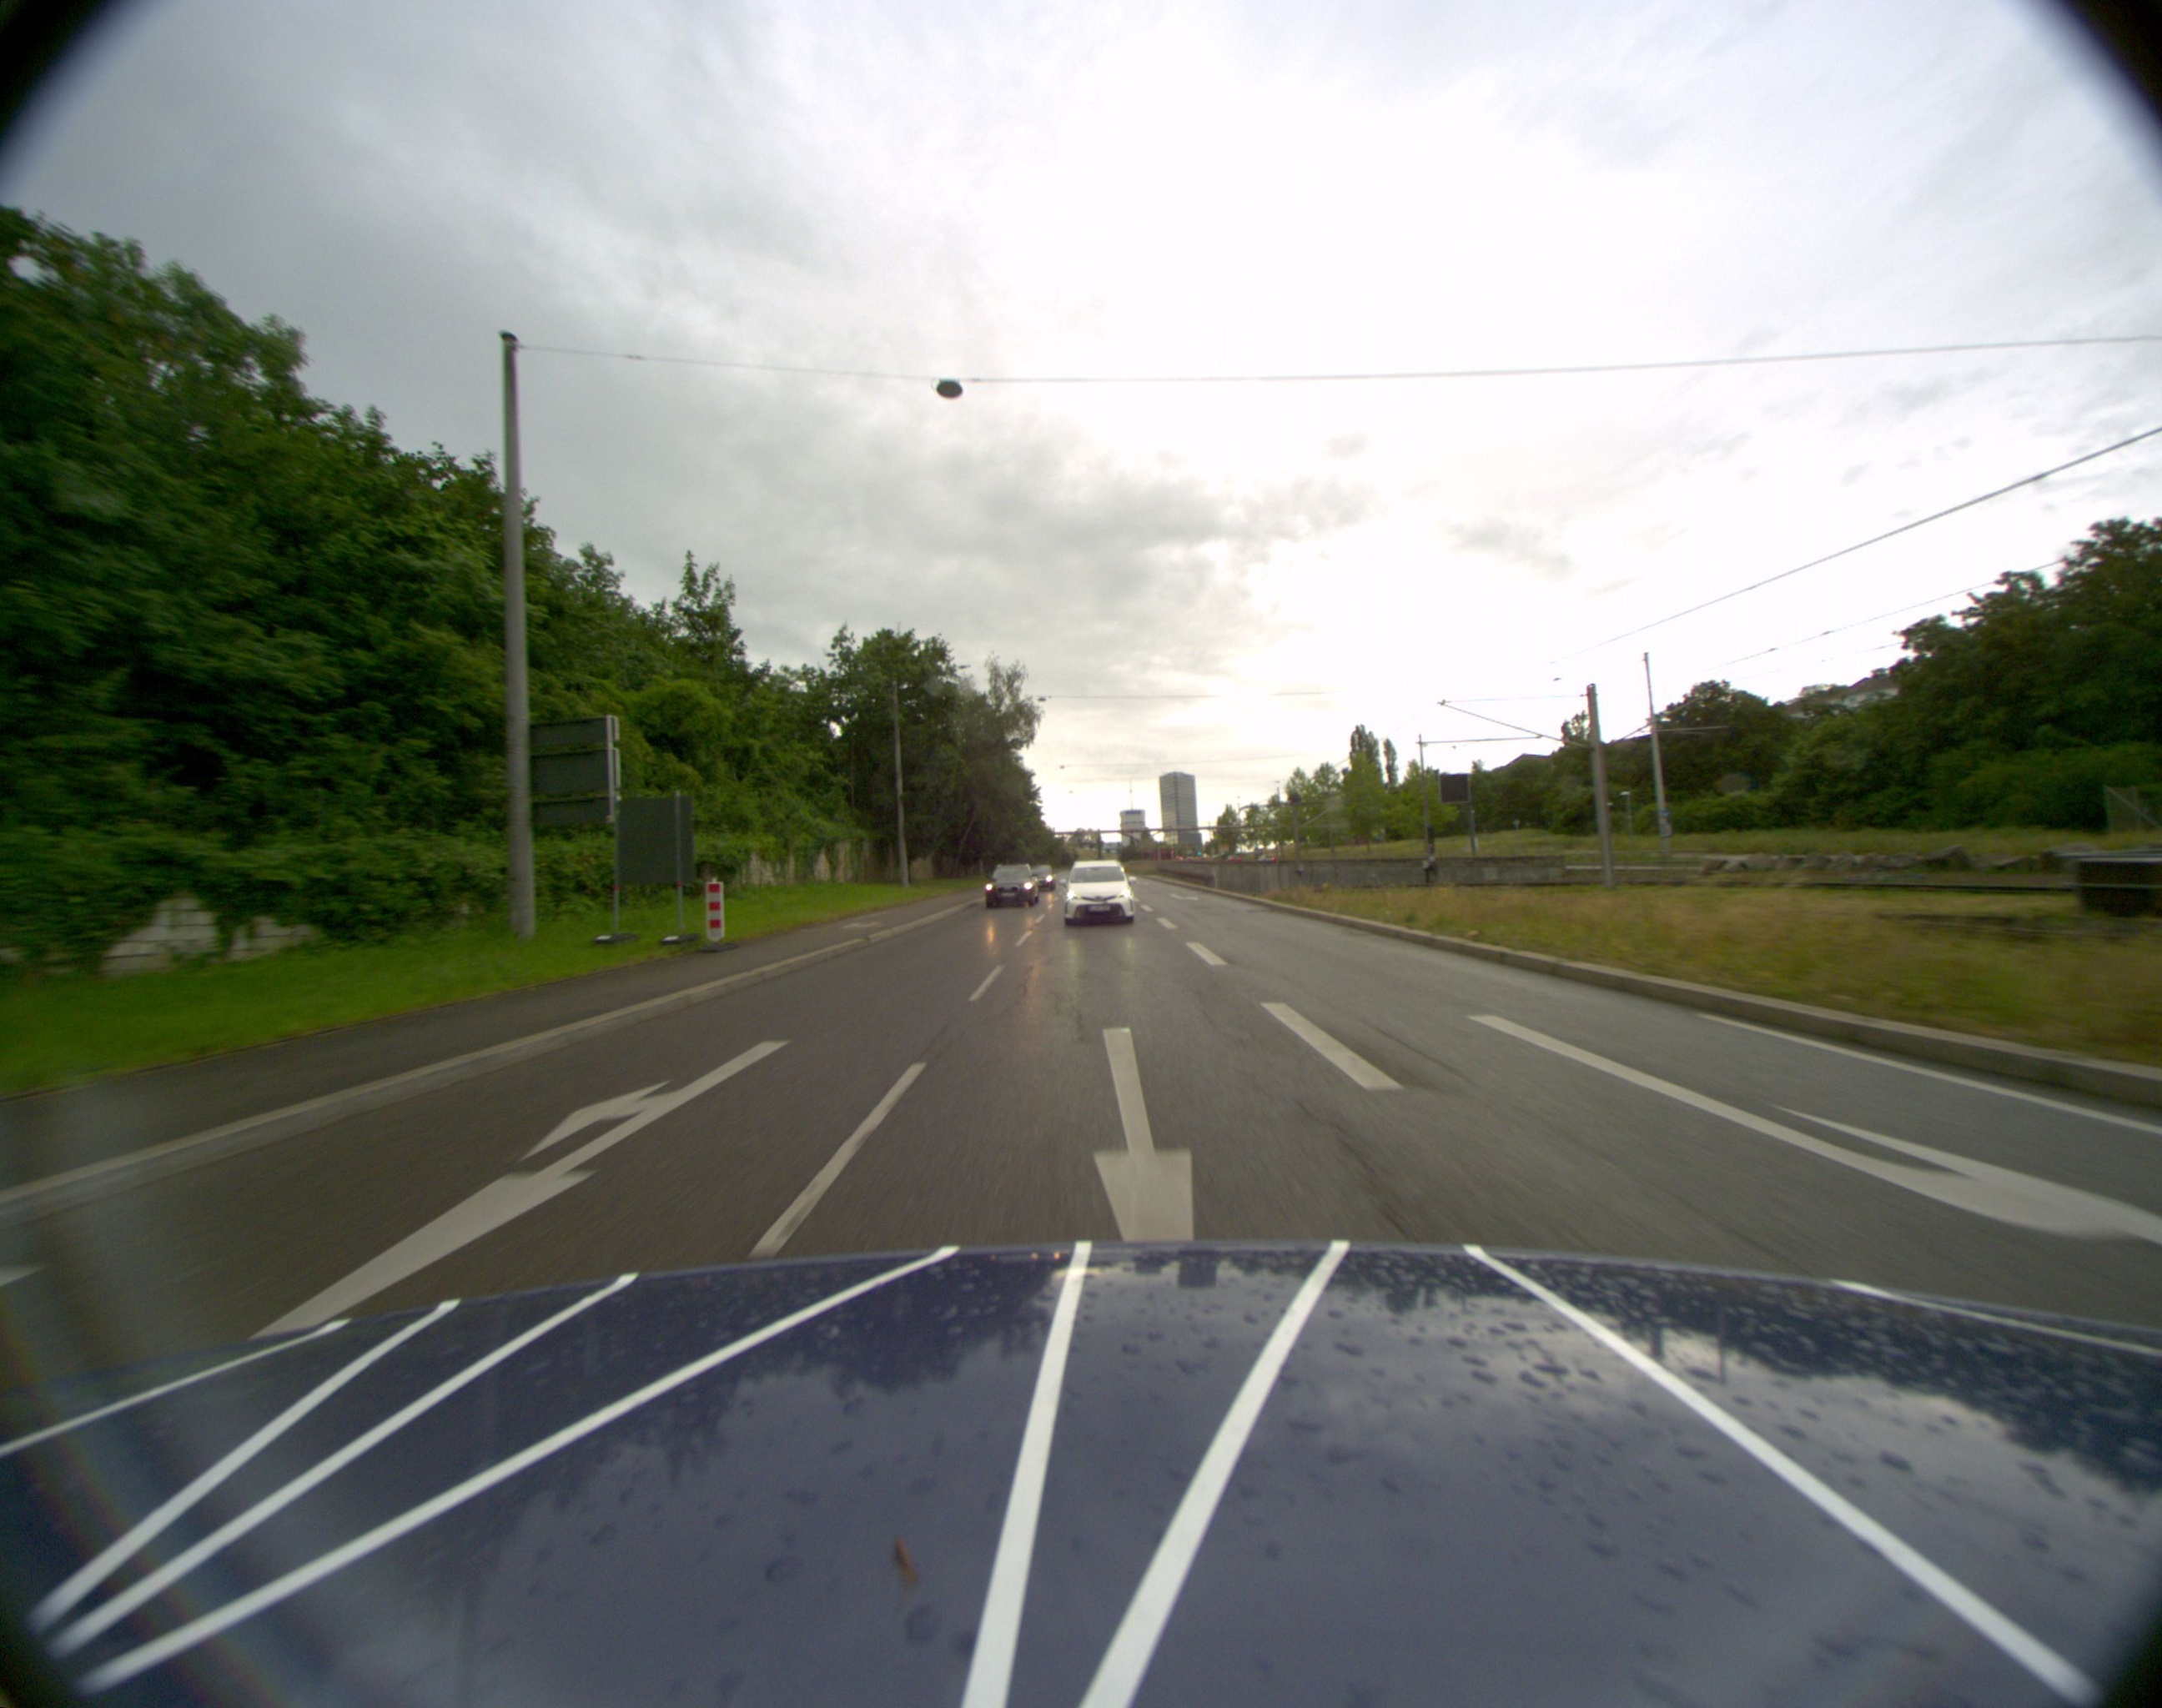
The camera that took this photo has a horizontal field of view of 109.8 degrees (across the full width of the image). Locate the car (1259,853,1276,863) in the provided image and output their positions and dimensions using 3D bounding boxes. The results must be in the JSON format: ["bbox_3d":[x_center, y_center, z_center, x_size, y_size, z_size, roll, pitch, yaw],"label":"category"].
[{"bbox_3d":[26.103,0.590,106.606,1.559,1.284,3.560,-3,-1,2],"label":"car"}]

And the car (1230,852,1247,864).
[{"bbox_3d":[27.272,0.728,131.534,1.896,1.959,4.035,-5,0,-2],"label":"car"}]

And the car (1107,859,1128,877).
[{"bbox_3d":[3.655,1.451,75.835,1.998,1.761,4.003,0,-2,5],"label":"car"}]

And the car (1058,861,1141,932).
[{"bbox_3d":[0.597,1.042,20.390,1.924,1.604,4.377,-2,0,4],"label":"car"}]

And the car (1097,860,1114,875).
[{"bbox_3d":[2.921,1.596,90.822,1.998,1.761,4.001,-3,-1,1],"label":"car"}]

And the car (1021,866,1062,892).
[{"bbox_3d":[-2.280,1.456,44.968,1.845,1.377,4.002,-3,-1,4],"label":"car"}]

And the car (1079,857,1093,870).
[{"bbox_3d":[0.790,1.440,114.647,1.998,1.761,4.000,-2,0,1],"label":"car"}]

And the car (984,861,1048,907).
[{"bbox_3d":[-2.455,1.132,29.795,1.927,1.591,4.280,-2,0,2],"label":"car"}]
